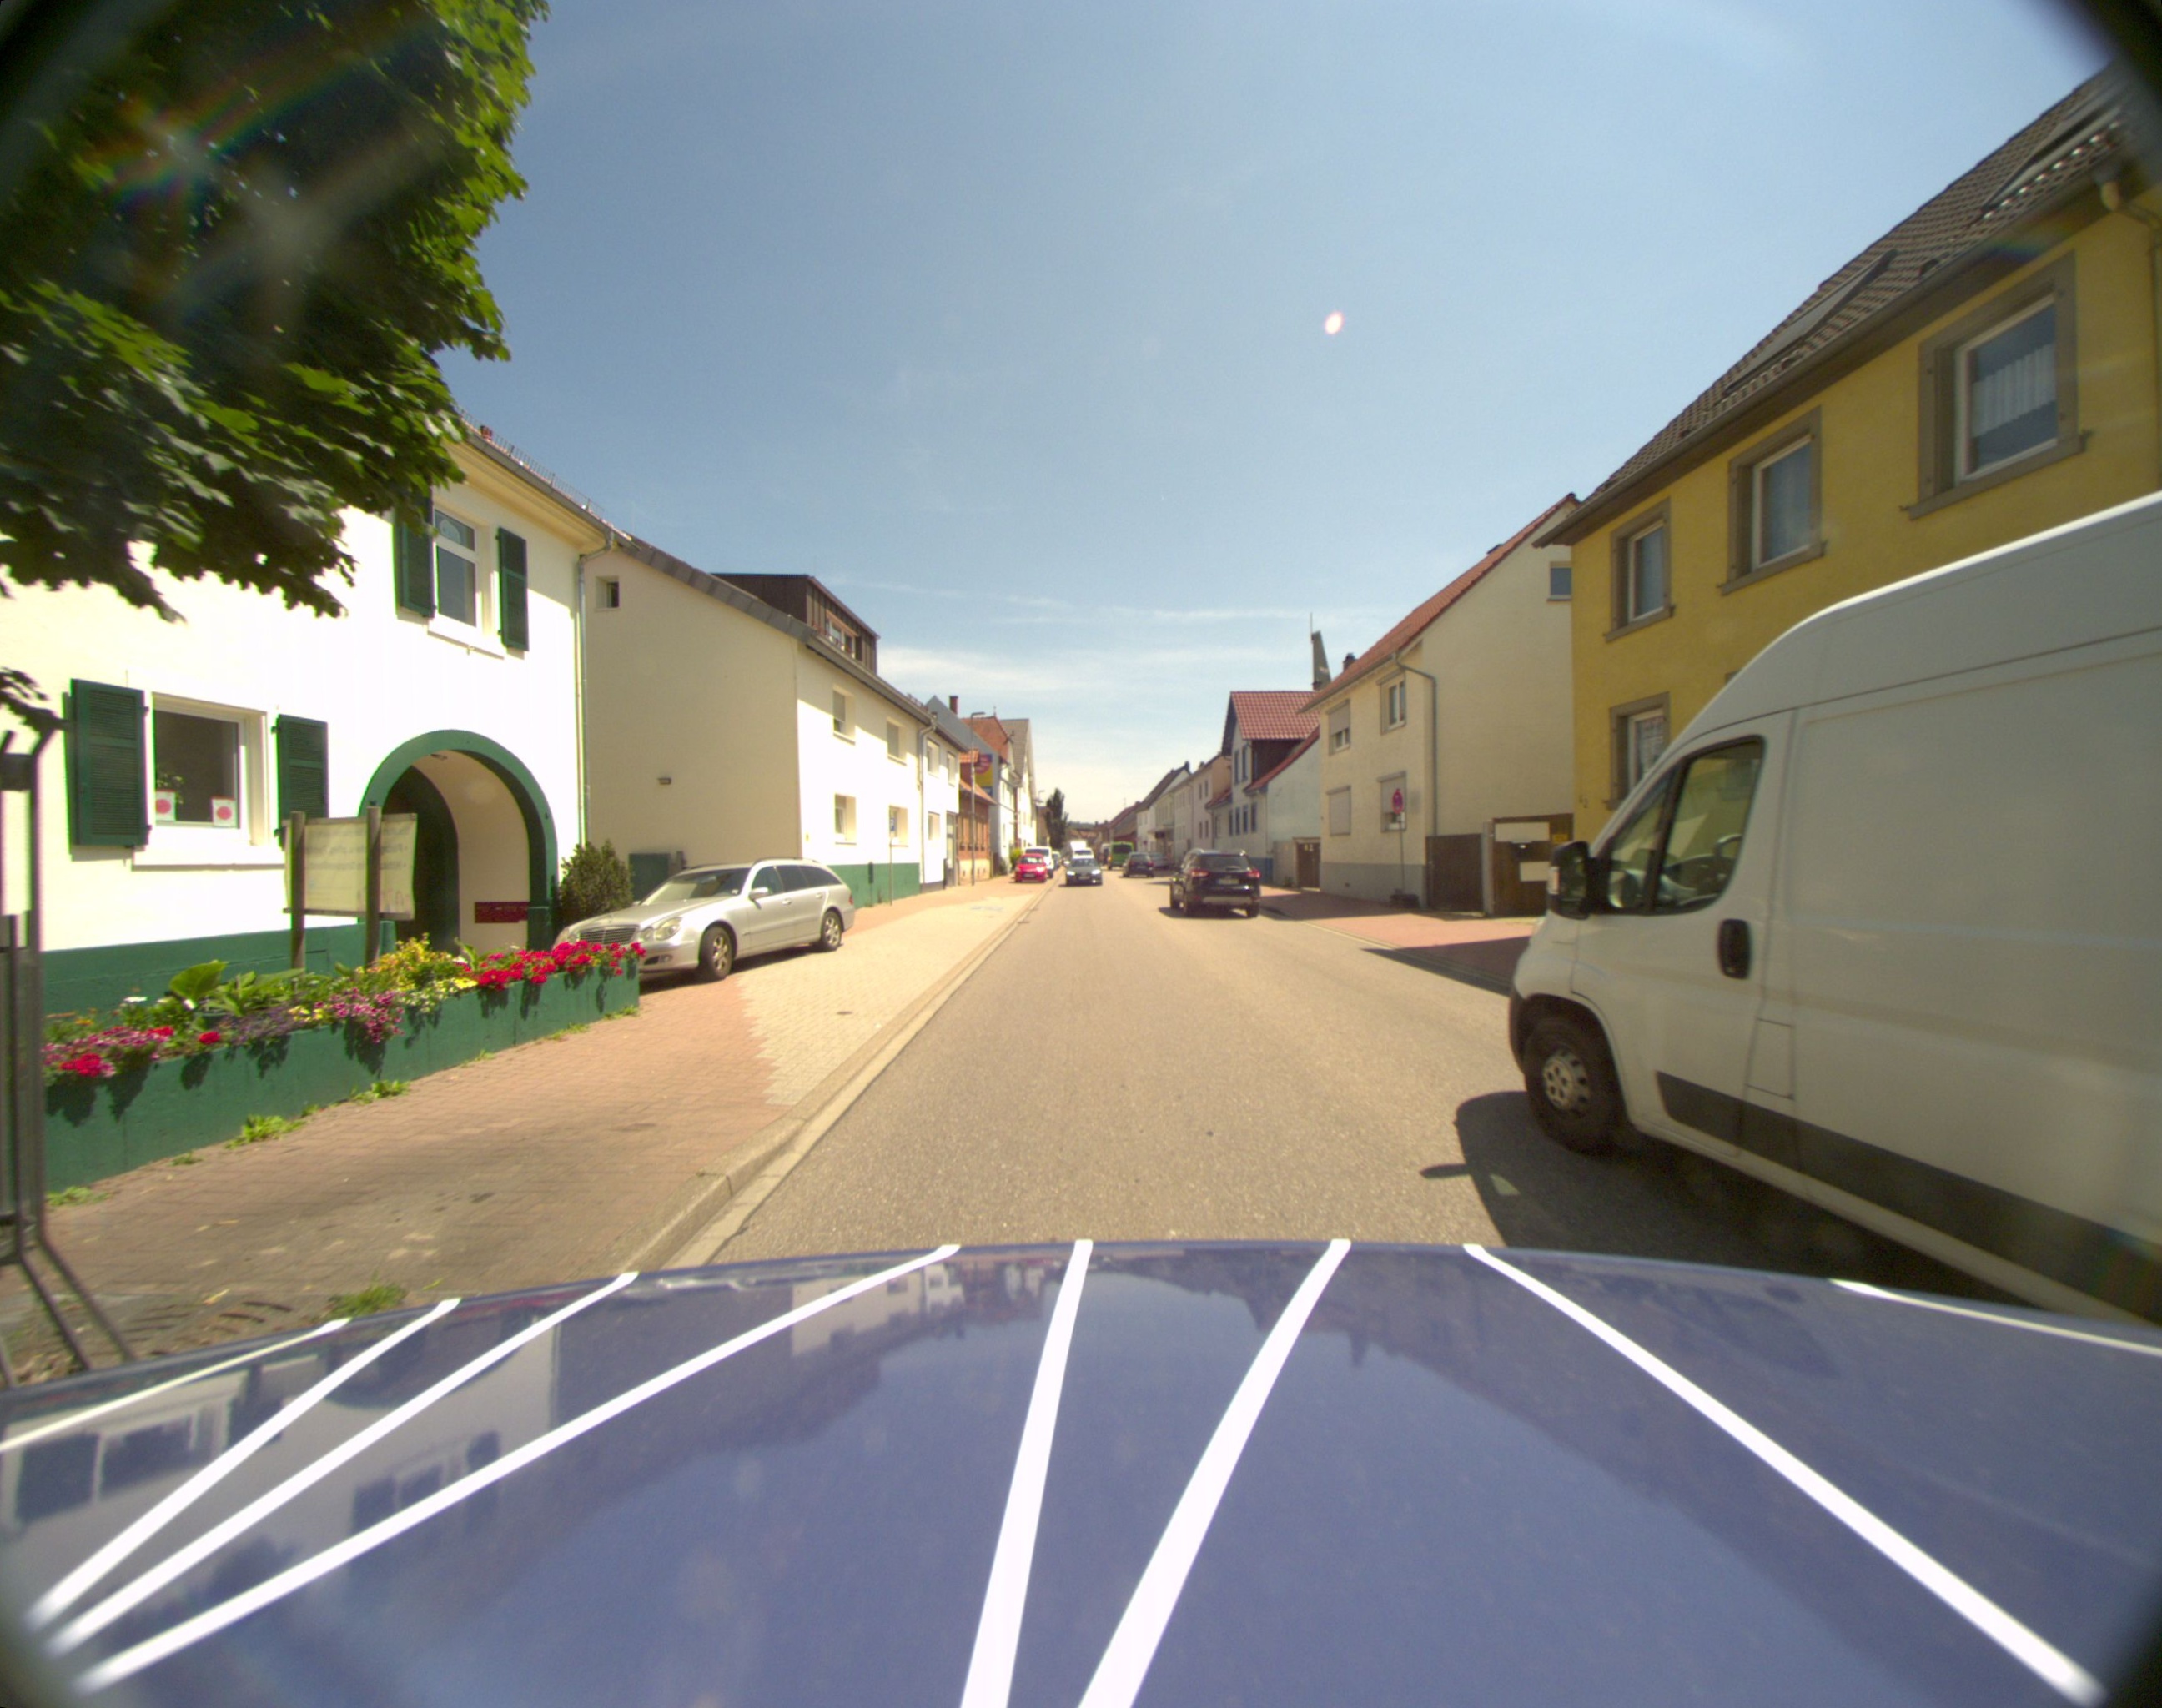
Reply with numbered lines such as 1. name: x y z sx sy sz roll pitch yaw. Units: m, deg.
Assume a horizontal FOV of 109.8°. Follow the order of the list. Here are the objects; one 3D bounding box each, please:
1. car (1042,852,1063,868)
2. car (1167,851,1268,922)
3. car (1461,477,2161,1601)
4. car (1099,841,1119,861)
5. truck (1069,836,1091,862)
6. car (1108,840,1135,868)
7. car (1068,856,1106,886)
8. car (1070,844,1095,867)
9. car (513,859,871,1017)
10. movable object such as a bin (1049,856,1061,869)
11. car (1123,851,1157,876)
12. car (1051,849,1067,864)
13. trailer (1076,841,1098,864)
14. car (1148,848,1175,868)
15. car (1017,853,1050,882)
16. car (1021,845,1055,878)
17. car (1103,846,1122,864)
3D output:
1. car: -2.707 0.563 73.377 1.704 1.438 4.836 2 0 0
2. car: 3.464 0.764 20.068 1.844 1.660 4.323 0 0 0
3. car: 3.386 0.405 1.621 2.075 2.441 6.006 0 0 -1
4. car: 3.530 -0.414 96.690 2.131 2.527 5.460 0 0 -1
5. truck: -0.186 -0.625 106.236 2.868 3.491 8.317 0 0 -2
6. car: 3.488 -0.021 65.932 2.056 2.340 6.081 0 0 0
7. car: 0.291 0.824 37.926 1.786 1.364 3.606 -2 0 0
8. car: 0.126 0.129 67.651 2.079 1.949 5.518 -2 0 0
9. car: -4.918 0.944 10.656 1.818 1.454 4.887 -5 0 9
10. movable object such as a bin: -2.254 0.733 65.216 0.723 1.067 0.973 1 1 16
11. car: 3.690 0.563 47.915 1.769 1.527 4.077 0 0 0
12. car: -2.496 0.294 87.607 1.807 1.604 4.548 1 0 -1
13. trailer: 1.026 -0.374 140.203 2.638 3.956 15.690 1 1 -4
14. car: 6.718 0.330 63.726 1.813 1.548 4.564 -3 1 1
15. car: -2.541 0.693 41.236 1.614 1.519 3.676 0 0 -1
16. car: -2.669 0.446 48.128 1.951 1.959 4.784 0 0 -1
17. car: 3.419 0.067 83.754 1.886 1.932 5.117 0 0 0
